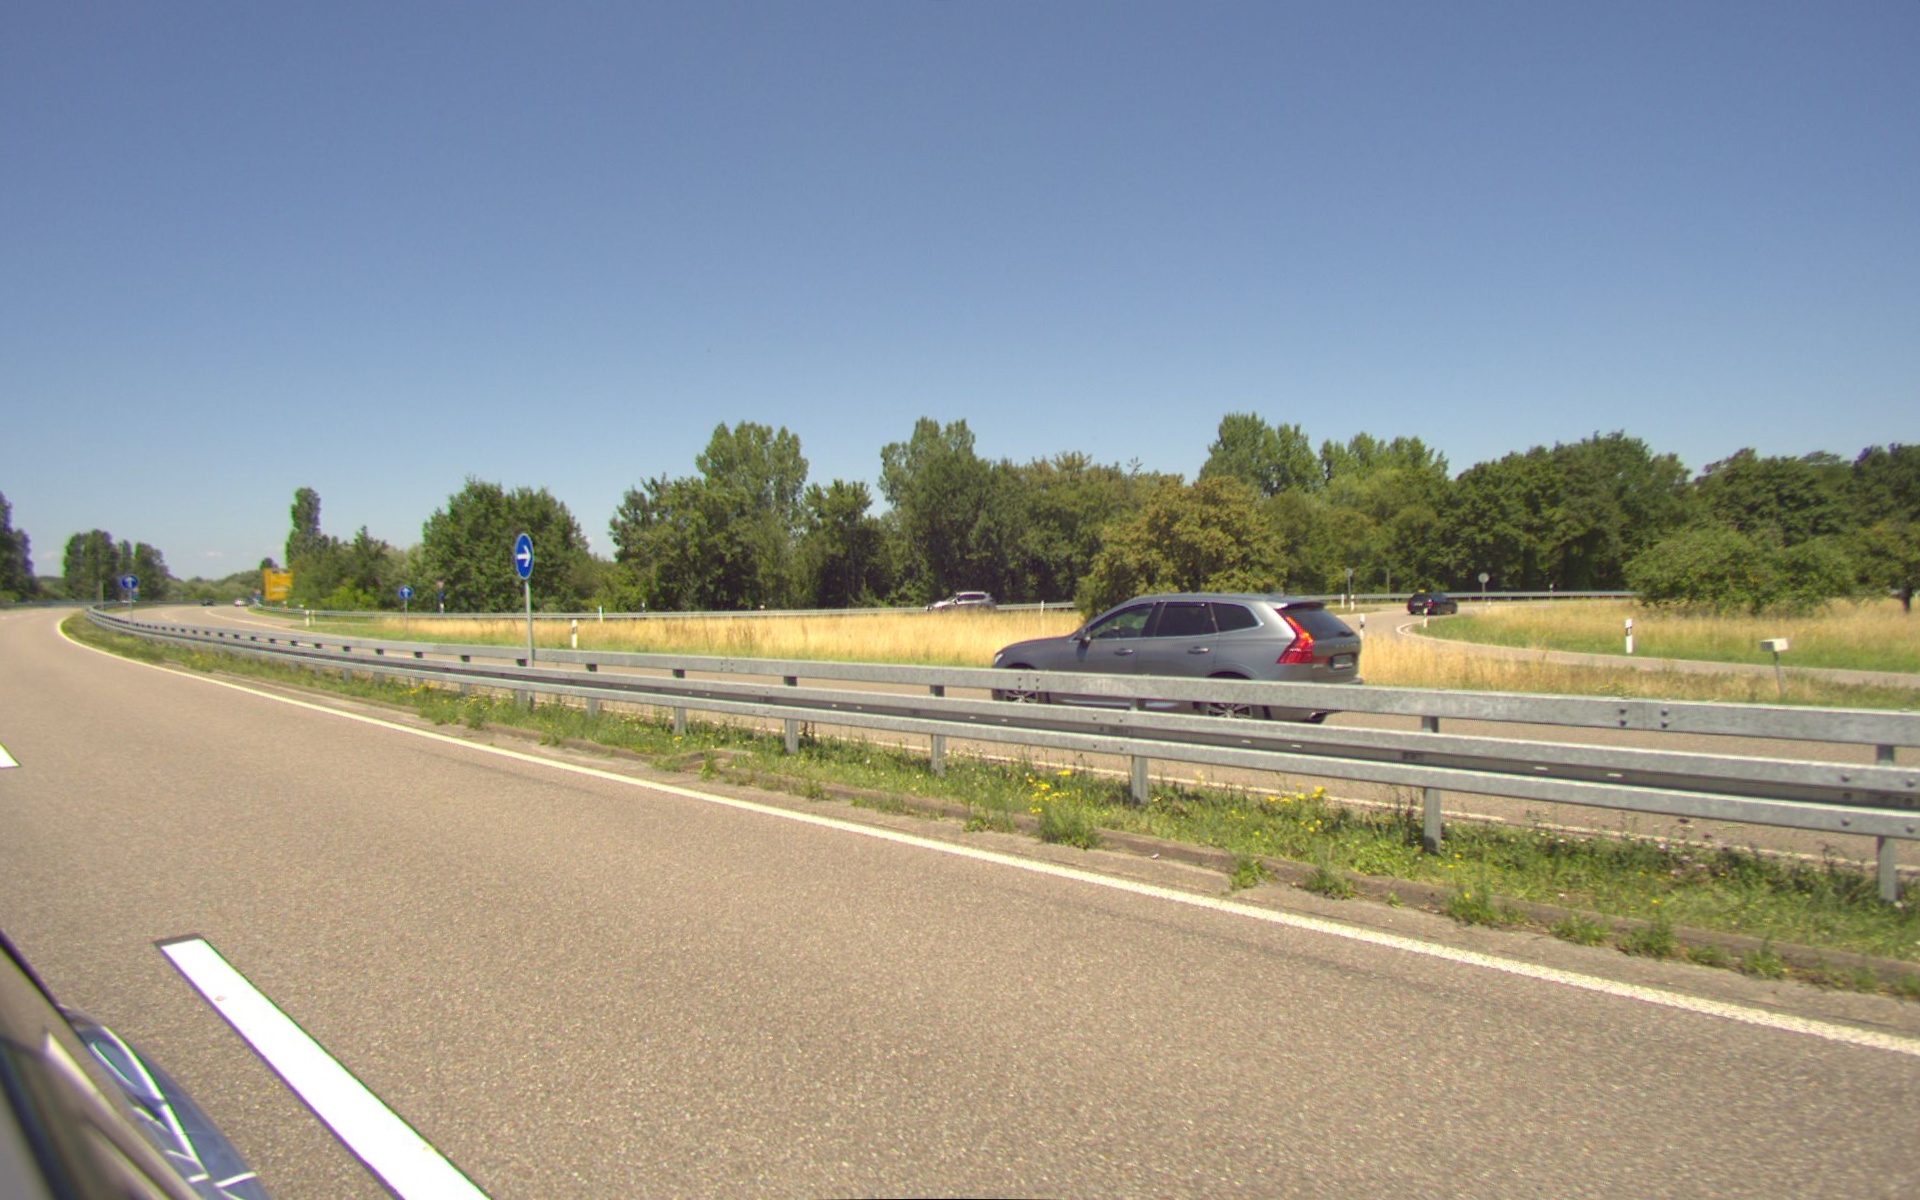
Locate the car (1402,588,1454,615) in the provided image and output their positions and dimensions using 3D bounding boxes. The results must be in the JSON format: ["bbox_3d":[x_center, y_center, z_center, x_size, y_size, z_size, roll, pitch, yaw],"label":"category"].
[{"bbox_3d":[31.490,0.088,68.029,2.000,1.710,3.943,-1,0,43],"label":"car"}]

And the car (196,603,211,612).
[{"bbox_3d":[-142.095,1.441,190.077,1.943,1.497,3.881,-1,1,-33],"label":"car"}]

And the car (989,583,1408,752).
[{"bbox_3d":[2.647,0.702,12.000,4.539,1.630,1.804,-2,-2,42],"label":"car"}]

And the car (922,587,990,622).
[{"bbox_3d":[-0.279,0.251,65.597,3.932,2.028,2.006,-2,2,-16],"label":"car"}]

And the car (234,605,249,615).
[{"bbox_3d":[-123.058,1.699,173.314,1.943,1.497,3.881,-1,1,-33],"label":"car"}]
